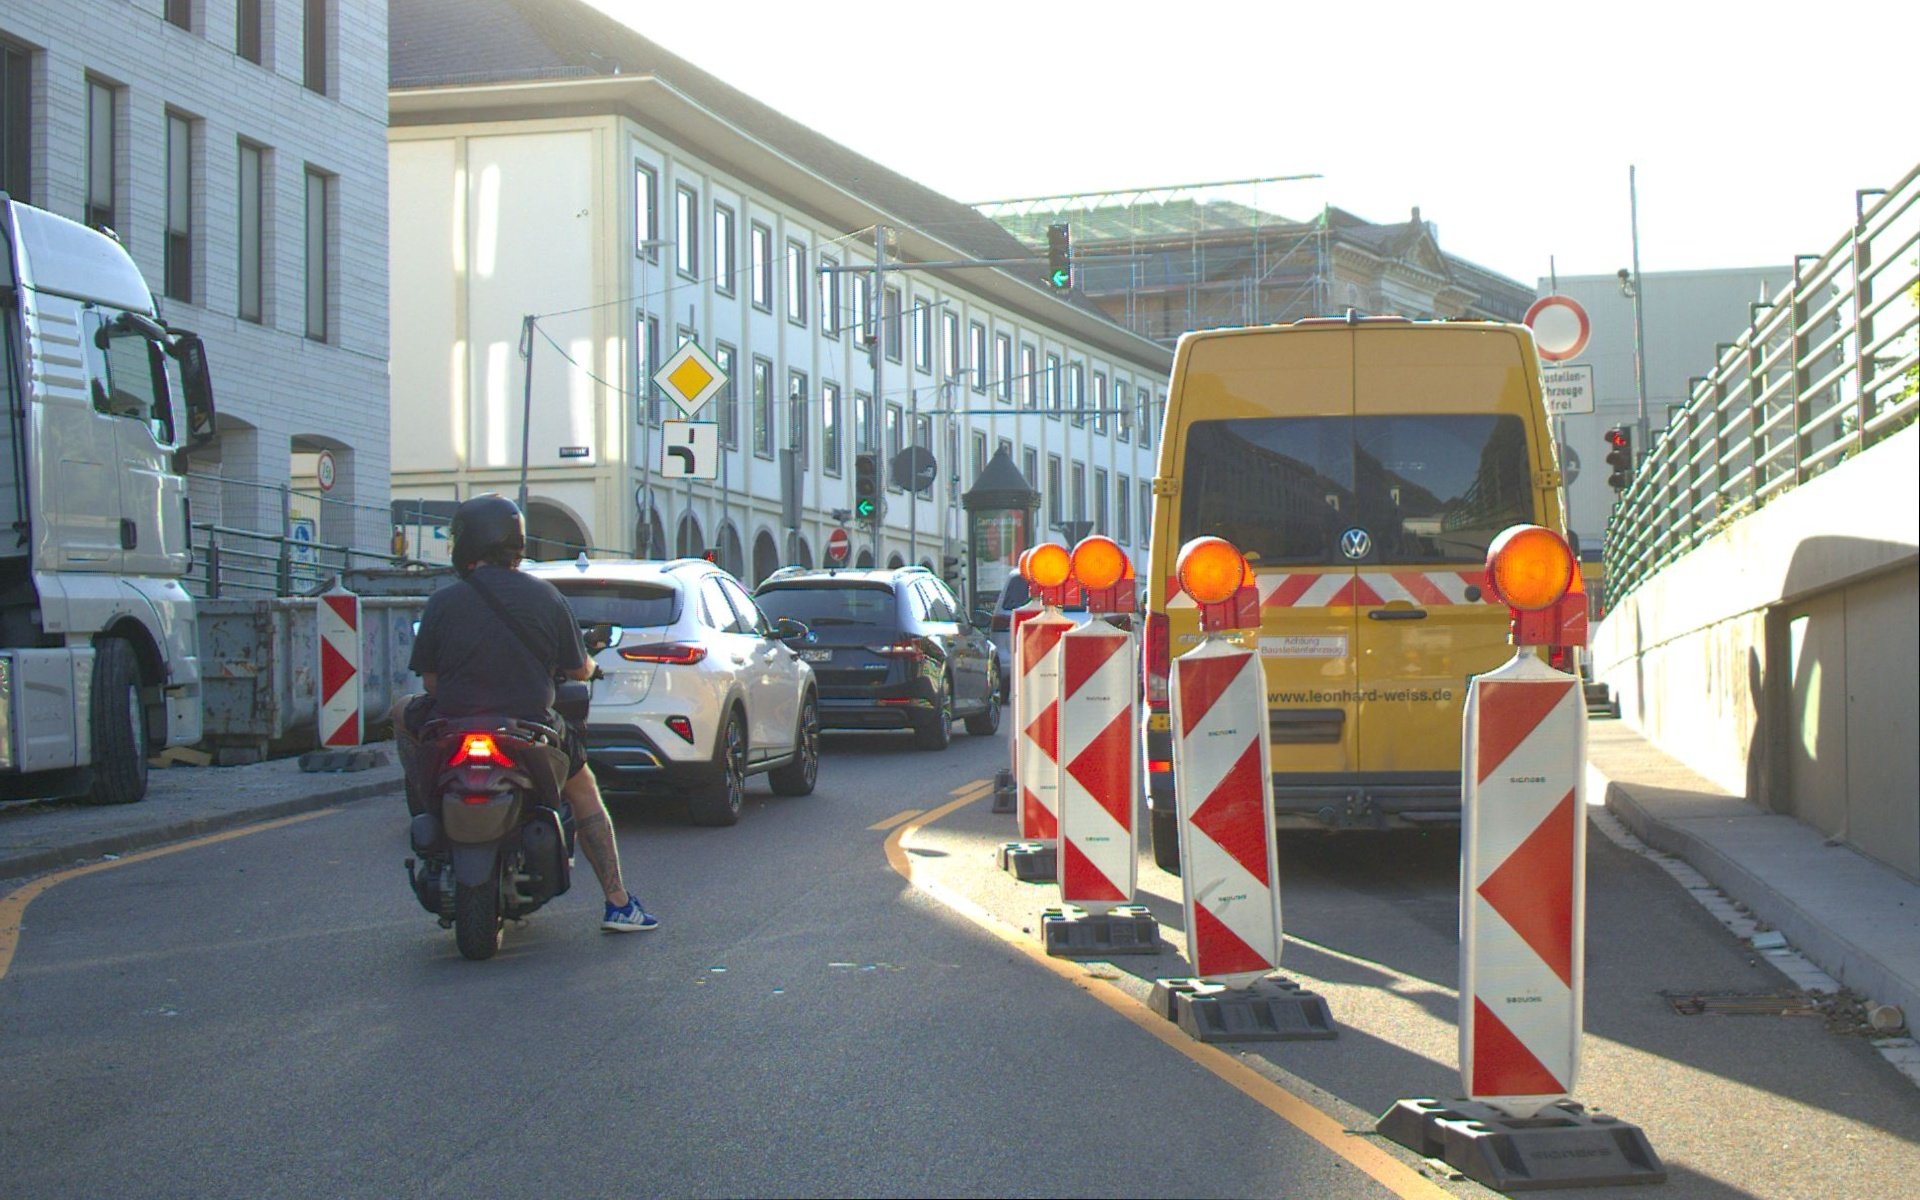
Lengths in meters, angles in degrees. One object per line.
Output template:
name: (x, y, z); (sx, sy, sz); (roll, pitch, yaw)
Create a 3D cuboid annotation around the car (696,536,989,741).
car: (-0.886, 0.344, 28.370); (1.774, 1.545, 4.105); (-1, -1, 7)

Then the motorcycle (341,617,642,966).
motorcycle: (-1.777, 0.684, 13.449); (0.906, 1.179, 2.579); (0, 1, -2)

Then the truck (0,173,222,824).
truck: (-6.358, -0.471, 18.505); (2.580, 3.478, 5.814); (-4, 0, 8)

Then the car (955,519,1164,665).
car: (1.287, -0.123, 42.568); (1.804, 1.715, 4.161); (0, 1, 13)

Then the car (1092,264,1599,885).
car: (2.092, -0.120, 18.118); (2.112, 2.616, 6.985); (-1, 0, 8)

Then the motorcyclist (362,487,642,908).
motorcyclist: (-1.753, 0.352, 13.356); (0.954, 1.554, 1.239); (0, 1, -2)

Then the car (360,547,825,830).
car: (-2.024, 0.436, 20.098); (1.859, 1.467, 3.999); (1, 1, 7)
